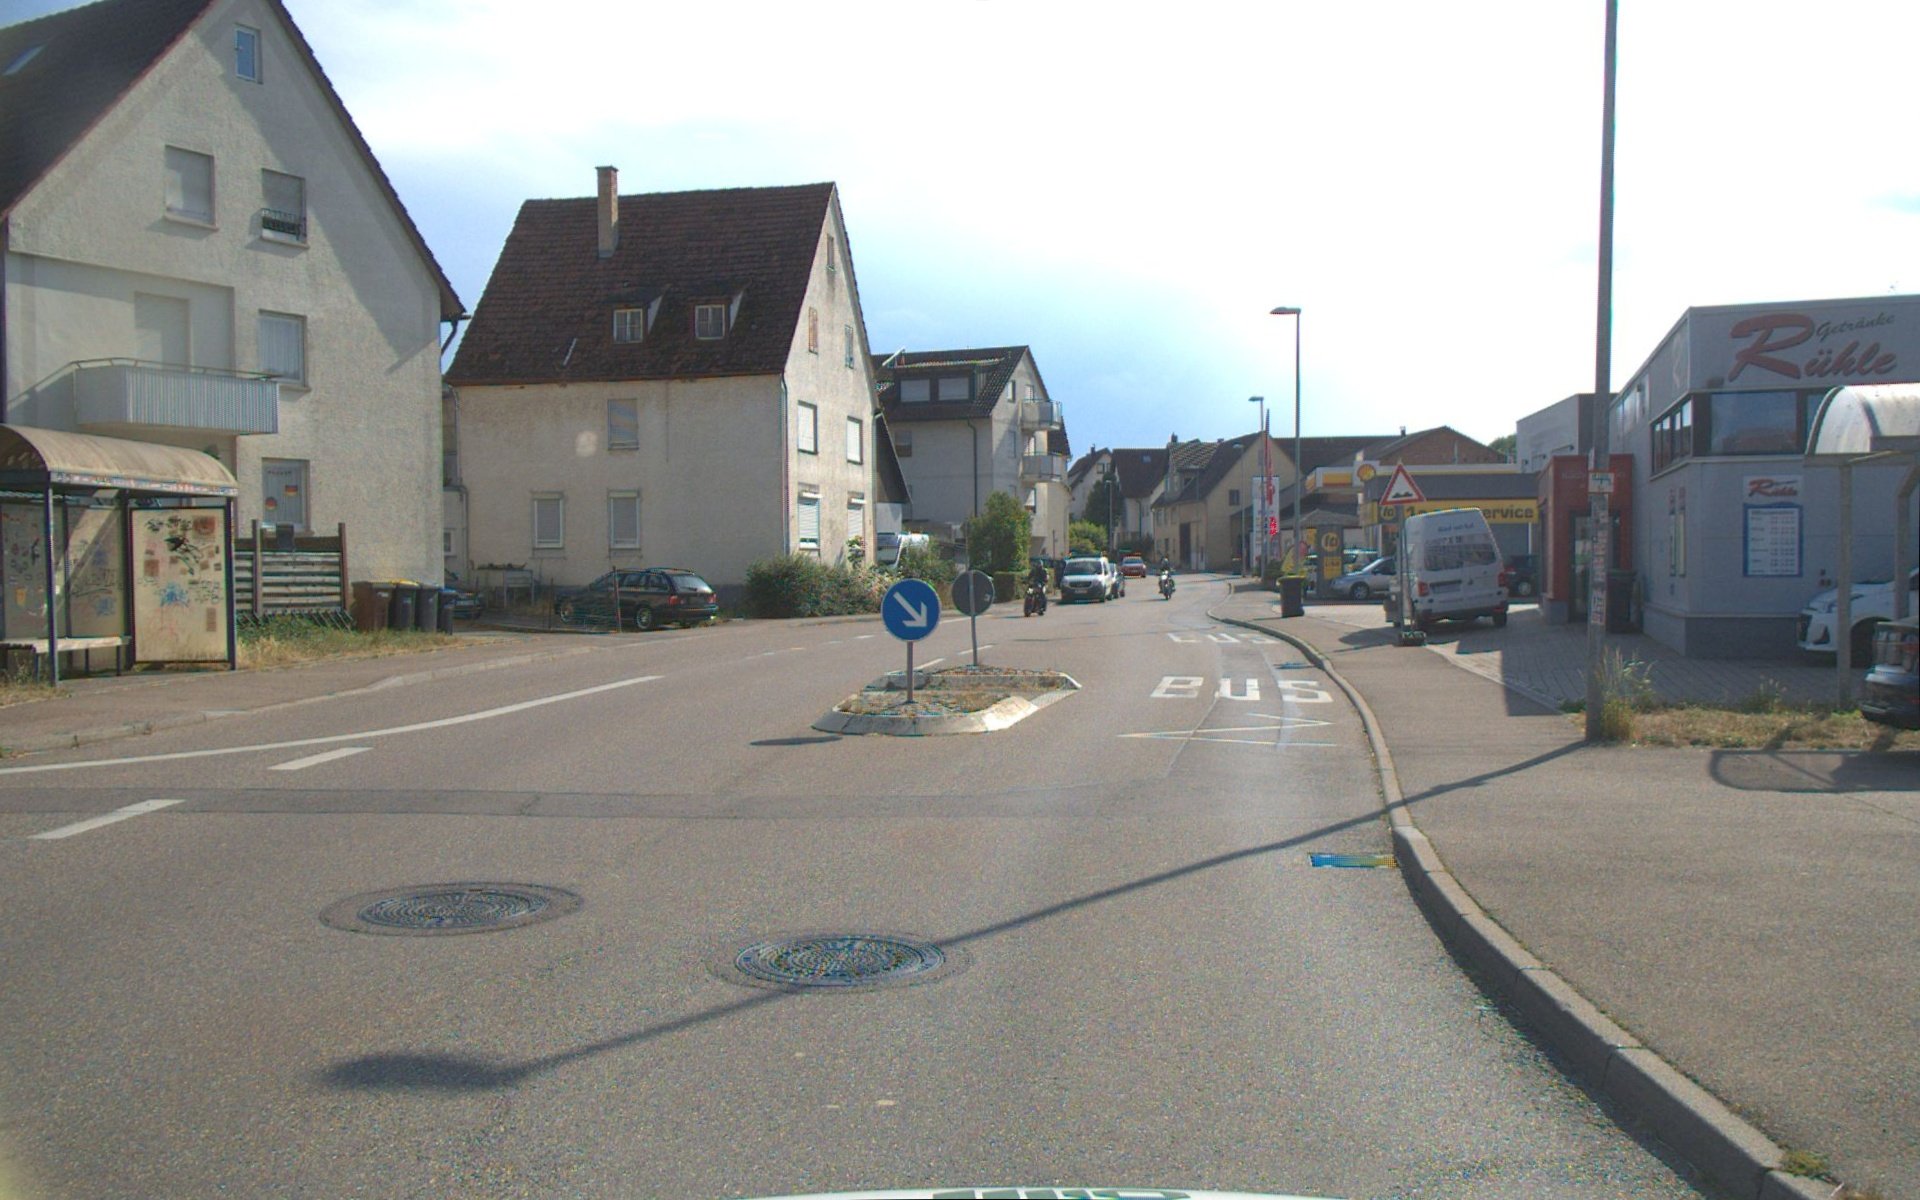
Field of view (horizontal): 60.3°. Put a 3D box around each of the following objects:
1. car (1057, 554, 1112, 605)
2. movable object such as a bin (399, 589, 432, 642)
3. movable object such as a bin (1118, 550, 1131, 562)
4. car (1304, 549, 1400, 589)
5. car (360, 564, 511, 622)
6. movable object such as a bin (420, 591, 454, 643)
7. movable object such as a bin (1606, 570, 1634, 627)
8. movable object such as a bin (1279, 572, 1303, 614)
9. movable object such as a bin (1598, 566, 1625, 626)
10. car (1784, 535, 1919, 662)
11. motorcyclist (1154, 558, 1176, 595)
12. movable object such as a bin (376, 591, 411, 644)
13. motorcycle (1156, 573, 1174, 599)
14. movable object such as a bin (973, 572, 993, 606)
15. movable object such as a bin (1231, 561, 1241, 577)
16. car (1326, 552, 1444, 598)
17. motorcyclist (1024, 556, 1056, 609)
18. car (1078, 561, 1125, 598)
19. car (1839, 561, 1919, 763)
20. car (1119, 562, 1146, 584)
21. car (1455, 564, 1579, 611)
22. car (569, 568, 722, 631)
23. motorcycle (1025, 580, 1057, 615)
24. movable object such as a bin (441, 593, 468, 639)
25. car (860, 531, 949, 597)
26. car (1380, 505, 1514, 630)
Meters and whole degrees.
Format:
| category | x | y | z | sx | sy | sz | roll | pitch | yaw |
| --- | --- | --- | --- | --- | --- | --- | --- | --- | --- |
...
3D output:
| category | x | y | z | sx | sy | sz | roll | pitch | yaw |
| --- | --- | --- | --- | --- | --- | --- | --- | --- | --- |
| car | 5.033 | -0.858 | 66.368 | 1.680 | 1.905 | 4.196 | -2 | 1 | 11 |
| movable object such as a bin | -10.929 | 0.310 | 33.208 | 0.354 | 1.059 | 0.557 | 0 | 0 | 26 |
| movable object such as a bin | 16.413 | -4.433 | 165.146 | 1.137 | 1.188 | 0.655 | -1 | 2 | -3 |
| car | 16.869 | -1.351 | 71.360 | 3.902 | 1.636 | 2.002 | 0 | 2 | 10 |
| car | -13.781 | -0.206 | 43.401 | 3.916 | 1.384 | 1.682 | 2 | 3 | 33 |
| movable object such as a bin | -10.663 | 0.341 | 33.737 | 0.354 | 1.041 | 0.576 | 0 | 0 | 26 |
| movable object such as a bin | 11.561 | -0.023 | 28.989 | 0.420 | 0.983 | 0.430 | 0 | 1 | 18 |
| movable object such as a bin | 8.830 | -0.185 | 44.153 | 0.555 | 1.093 | 0.573 | -2 | 1 | 6 |
| movable object such as a bin | 11.705 | -0.082 | 29.719 | 0.420 | 1.060 | 0.490 | 0 | 1 | 18 |
| car | 12.339 | -0.068 | 20.618 | 3.481 | 1.482 | 1.499 | -2 | 1 | 19 |
| motorcyclist | 8.260 | -0.943 | 66.612 | 0.785 | 1.461 | 1.038 | 1 | 1 | 12 |
| movable object such as a bin | -11.199 | 0.336 | 32.704 | 0.354 | 1.034 | 0.557 | 0 | 0 | 26 |
| motorcycle | 8.273 | -0.567 | 66.658 | 0.513 | 1.030 | 2.030 | 1 | 1 | 12 |
| movable object such as a bin | 0.775 | -0.371 | 56.044 | 0.598 | 1.120 | 0.576 | 0 | 0 | 10 |
| movable object such as a bin | 19.169 | -2.186 | 114.960 | 0.639 | 1.092 | 0.513 | -1 | 1 | 6 |
| car | 15.055 | -0.895 | 58.772 | 3.902 | 1.558 | 1.529 | -1 | 1 | 8 |
| motorcyclist | 2.403 | -0.519 | 49.868 | 0.720 | 1.553 | 1.017 | 2 | 1 | 14 |
| car | 6.201 | -0.913 | 72.096 | 1.637 | 1.477 | 3.838 | -1 | 1 | 11 |
| car | 8.912 | 0.371 | 12.203 | 3.978 | 1.441 | 1.627 | -2 | 0 | 15 |
| car | 12.097 | -1.901 | 116.032 | 1.673 | 1.459 | 3.782 | -2 | 1 | 3 |
| car | 19.437 | -0.450 | 57.810 | 3.821 | 1.493 | 1.719 | -1 | 3 | 6 |
| car | -7.968 | -0.057 | 41.796 | 3.923 | 1.458 | 1.646 | 2 | 3 | 38 |
| motorcycle | 2.444 | -0.095 | 49.982 | 0.527 | 1.030 | 2.029 | 2 | 1 | 15 |
| movable object such as a bin | -10.457 | 0.325 | 34.236 | 0.354 | 0.941 | 0.399 | 0 | 0 | 27 |
| car | -2.275 | -1.552 | 69.502 | 2.112 | 2.641 | 6.100 | 0 | 2 | 14 |
| car | 10.427 | -0.725 | 35.767 | 1.797 | 2.416 | 5.183 | -3 | 1 | 6 |
